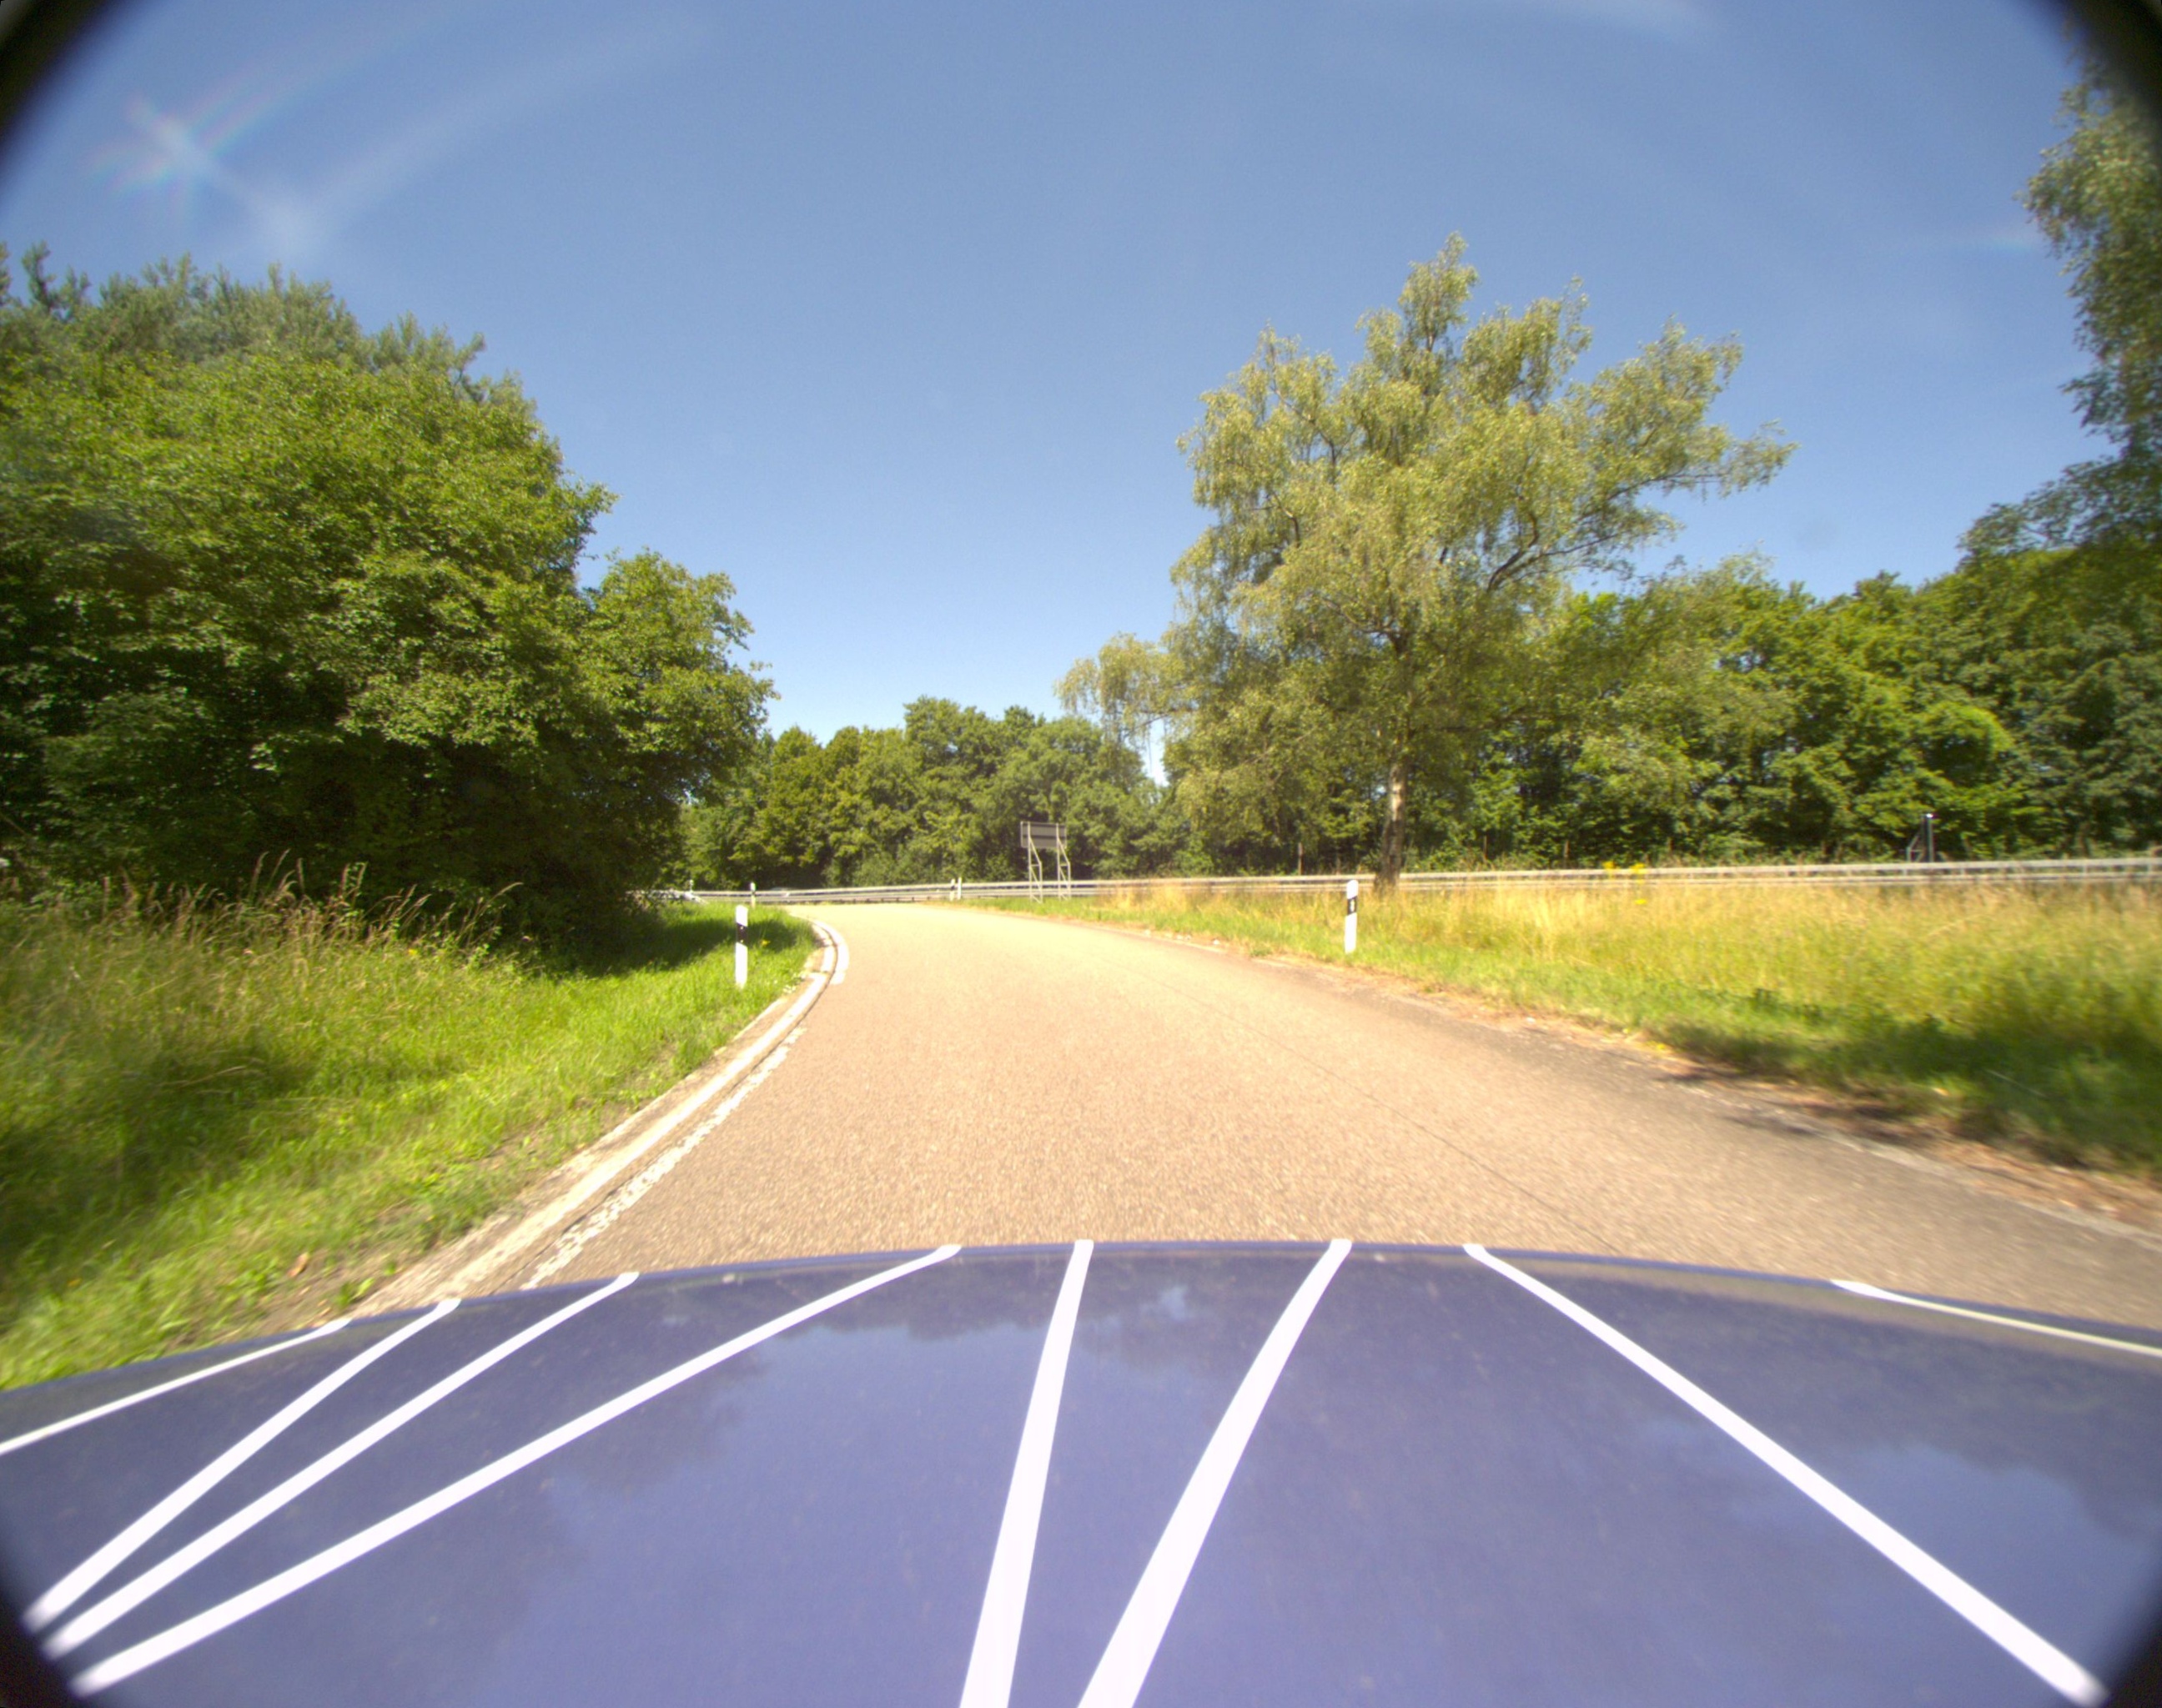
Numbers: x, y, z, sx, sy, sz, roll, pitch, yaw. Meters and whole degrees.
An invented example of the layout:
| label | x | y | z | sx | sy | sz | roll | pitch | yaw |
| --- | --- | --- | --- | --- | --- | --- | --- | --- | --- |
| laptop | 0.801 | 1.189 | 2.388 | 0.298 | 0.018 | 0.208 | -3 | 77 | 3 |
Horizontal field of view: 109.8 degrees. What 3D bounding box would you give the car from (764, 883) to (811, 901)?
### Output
| label | x | y | z | sx | sy | sz | roll | pitch | yaw |
| --- | --- | --- | --- | --- | --- | --- | --- | --- | --- |
| car | -23.554 | 3.028 | 60.855 | 3.838 | 1.372 | 1.449 | -2 | -4 | 32 |
